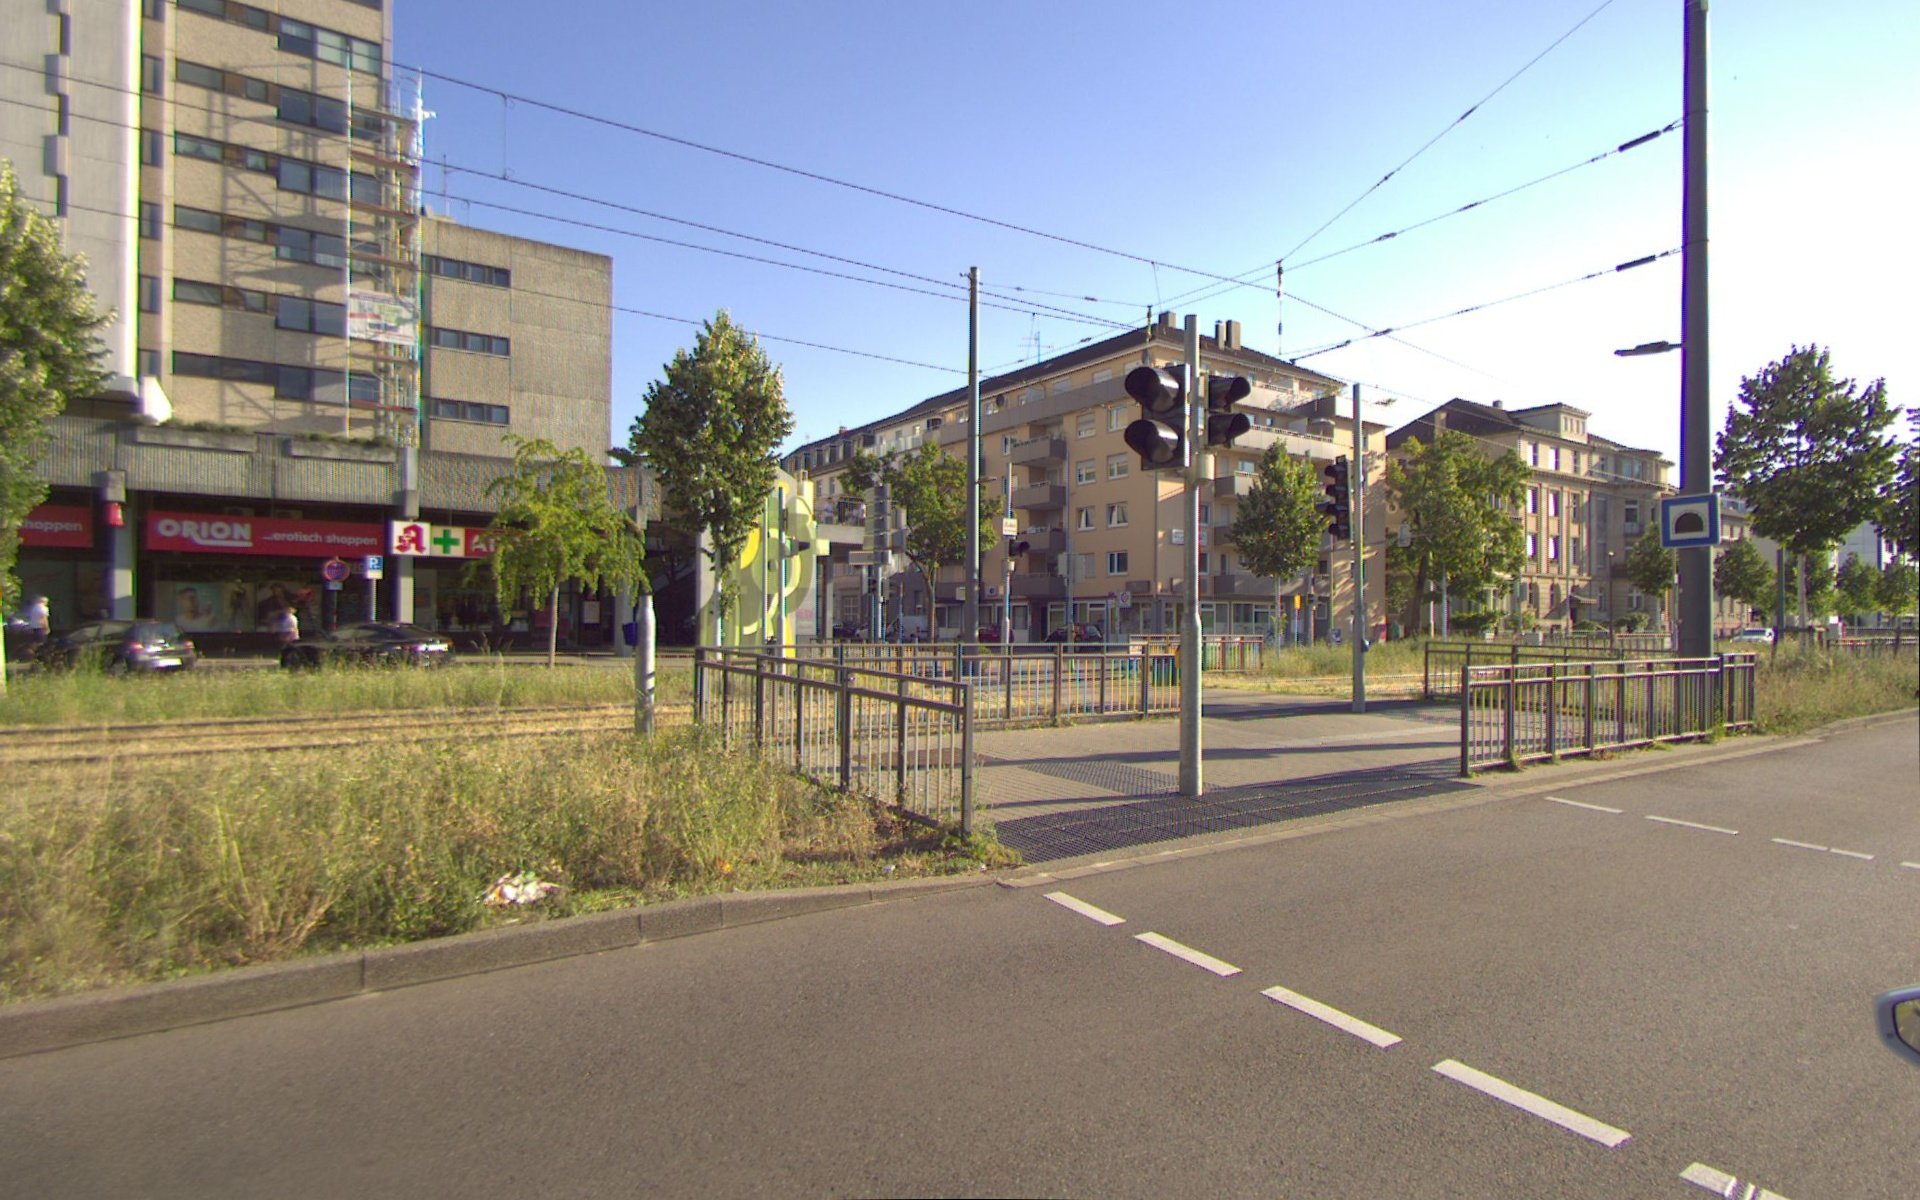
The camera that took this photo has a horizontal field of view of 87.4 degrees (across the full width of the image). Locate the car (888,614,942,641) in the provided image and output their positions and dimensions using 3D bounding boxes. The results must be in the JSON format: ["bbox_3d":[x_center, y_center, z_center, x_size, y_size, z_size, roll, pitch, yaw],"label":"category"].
[{"bbox_3d":[-3.142,1.865,69.555,1.979,1.766,3.963,1,-1,-34],"label":"car"}]

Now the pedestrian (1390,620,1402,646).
[{"bbox_3d":[26.951,2.052,62.050,0.444,1.576,0.516,1,-1,-35],"label":"pedestrian"}]

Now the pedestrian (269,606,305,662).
[{"bbox_3d":[-20.313,1.013,30.323,0.874,1.661,0.769,1,-1,-35],"label":"pedestrian"}]

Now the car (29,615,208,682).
[{"bbox_3d":[-20.630,1.153,24.662,3.396,1.421,1.622,2,0,13],"label":"car"}]

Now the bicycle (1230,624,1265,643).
[{"bbox_3d":[17.337,2.018,60.543,2.560,1.152,0.527,1,-1,-35],"label":"bicycle"}]

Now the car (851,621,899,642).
[{"bbox_3d":[-6.359,2.327,74.641,1.828,1.453,3.962,1,-1,-34],"label":"car"}]

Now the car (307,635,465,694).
[{"bbox_3d":[-15.170,1.674,26.609,3.396,1.291,1.622,2,0,13],"label":"car"}]

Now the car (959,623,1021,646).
[{"bbox_3d":[1.823,2.143,62.653,1.979,1.321,3.963,1,-1,-34],"label":"car"}]

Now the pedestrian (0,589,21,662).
[{"bbox_3d":[-27.116,0.723,28.461,0.648,2.040,0.544,1,-1,-34],"label":"pedestrian"}]

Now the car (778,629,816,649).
[{"bbox_3d":[-14.015,3.332,86.402,1.803,1.627,3.850,1,-1,-34],"label":"car"}]

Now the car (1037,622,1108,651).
[{"bbox_3d":[6.234,2.029,55.893,1.828,1.516,3.962,1,-1,-34],"label":"car"}]

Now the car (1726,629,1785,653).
[{"bbox_3d":[51.290,2.599,64.737,4.616,1.483,1.764,1,-1,-35],"label":"car"}]

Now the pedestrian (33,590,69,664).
[{"bbox_3d":[-25.440,0.745,28.132,0.648,2.040,0.544,1,-1,-34],"label":"pedestrian"}]
